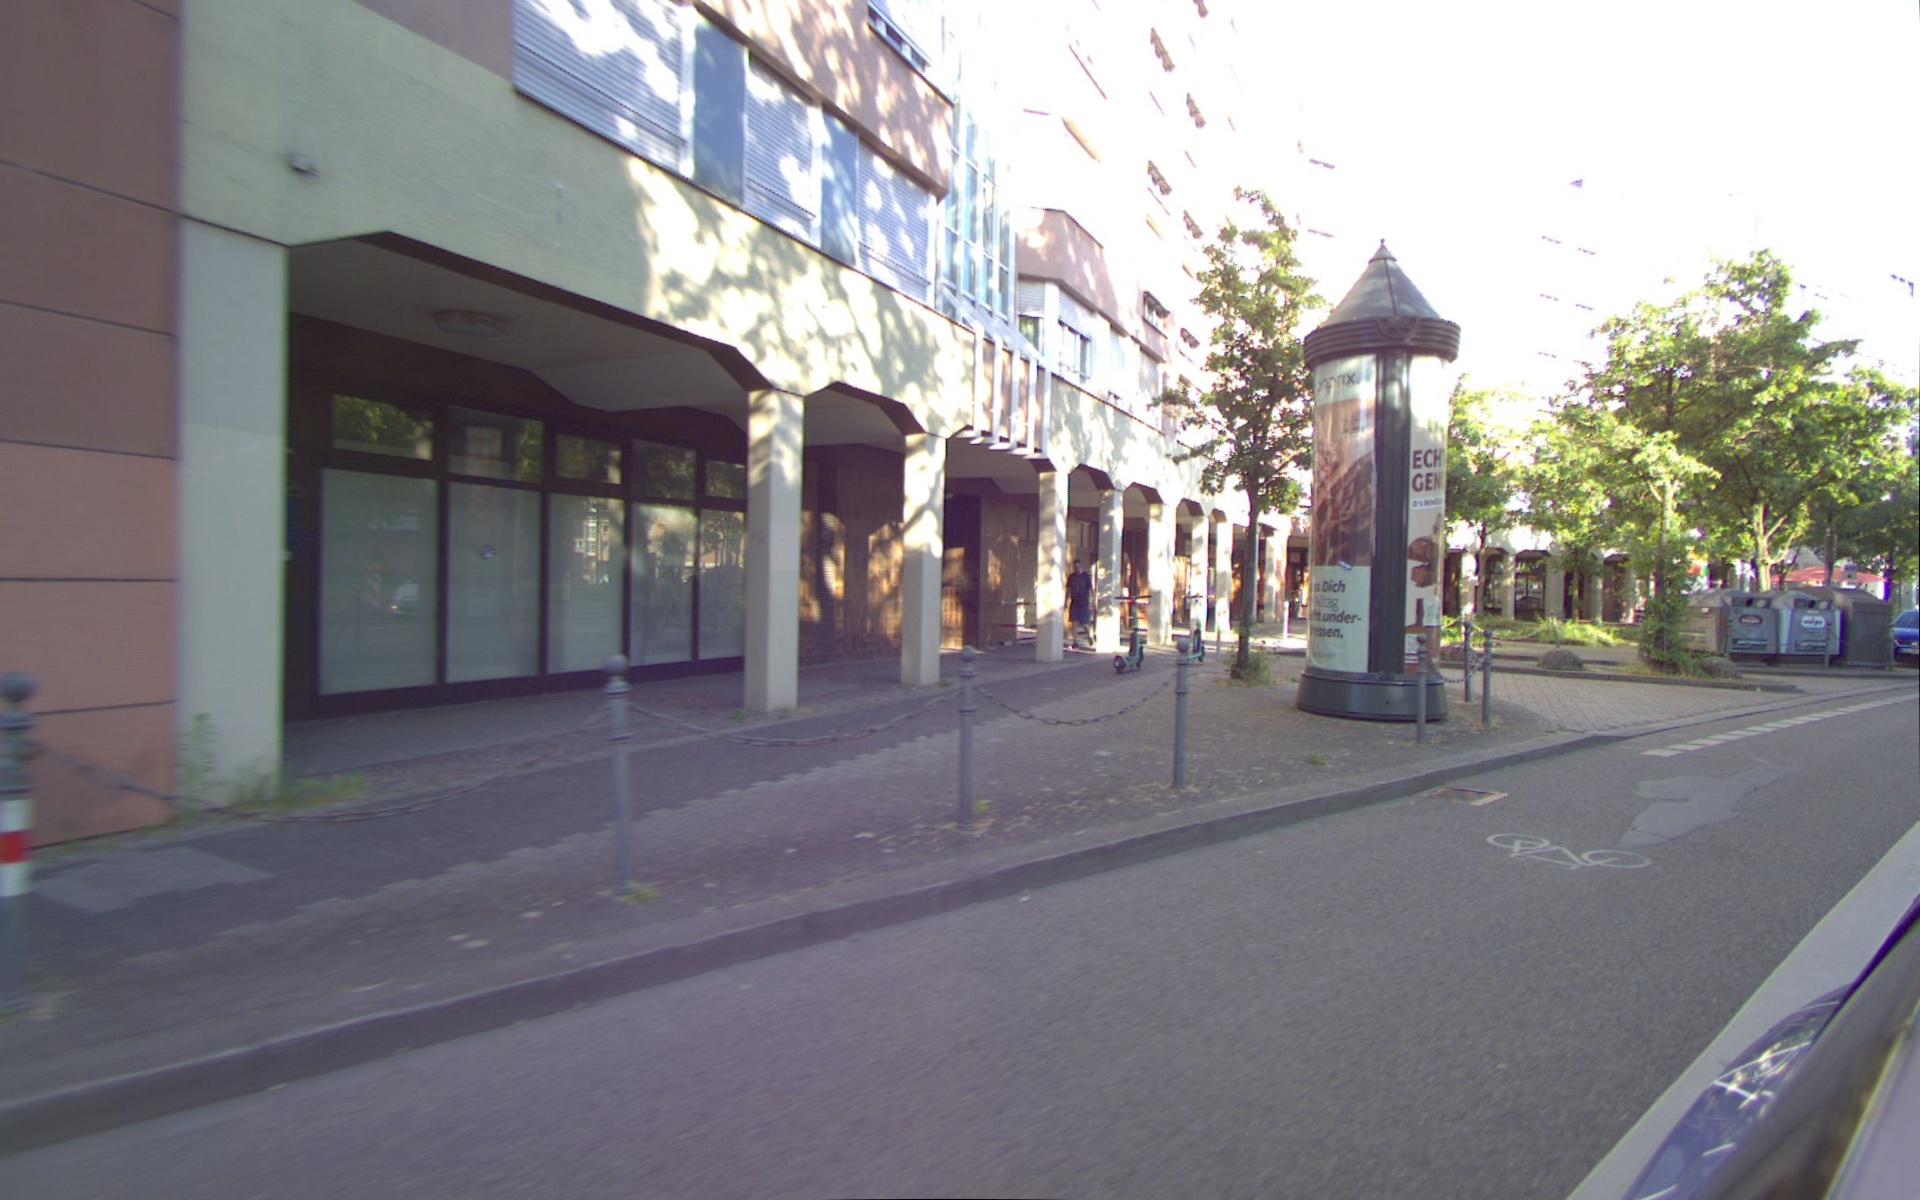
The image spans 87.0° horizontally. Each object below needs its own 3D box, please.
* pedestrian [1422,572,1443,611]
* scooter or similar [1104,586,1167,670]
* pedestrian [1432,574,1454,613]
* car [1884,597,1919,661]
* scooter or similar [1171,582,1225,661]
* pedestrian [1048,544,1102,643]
[{"bbox_3d":[22.772,-0.411,48.804,0.696,1.894,0.622,0,1,-38],"label":"pedestrian"},{"bbox_3d":[2.748,0.402,15.729,0.482,1.231,1.435,1,1,30],"label":"scooter or similar"},{"bbox_3d":[22.774,-0.316,47.718,0.767,1.828,0.722,2,1,17],"label":"pedestrian"},{"bbox_3d":[24.554,0.724,25.073,4.170,1.502,1.707,0,2,-37],"label":"car"},{"bbox_3d":[4.118,0.344,17.454,0.482,1.290,1.435,1,1,30],"label":"scooter or similar"},{"bbox_3d":[2.378,-0.147,20.925,0.812,2.006,0.839,1,1,31],"label":"pedestrian"}]
